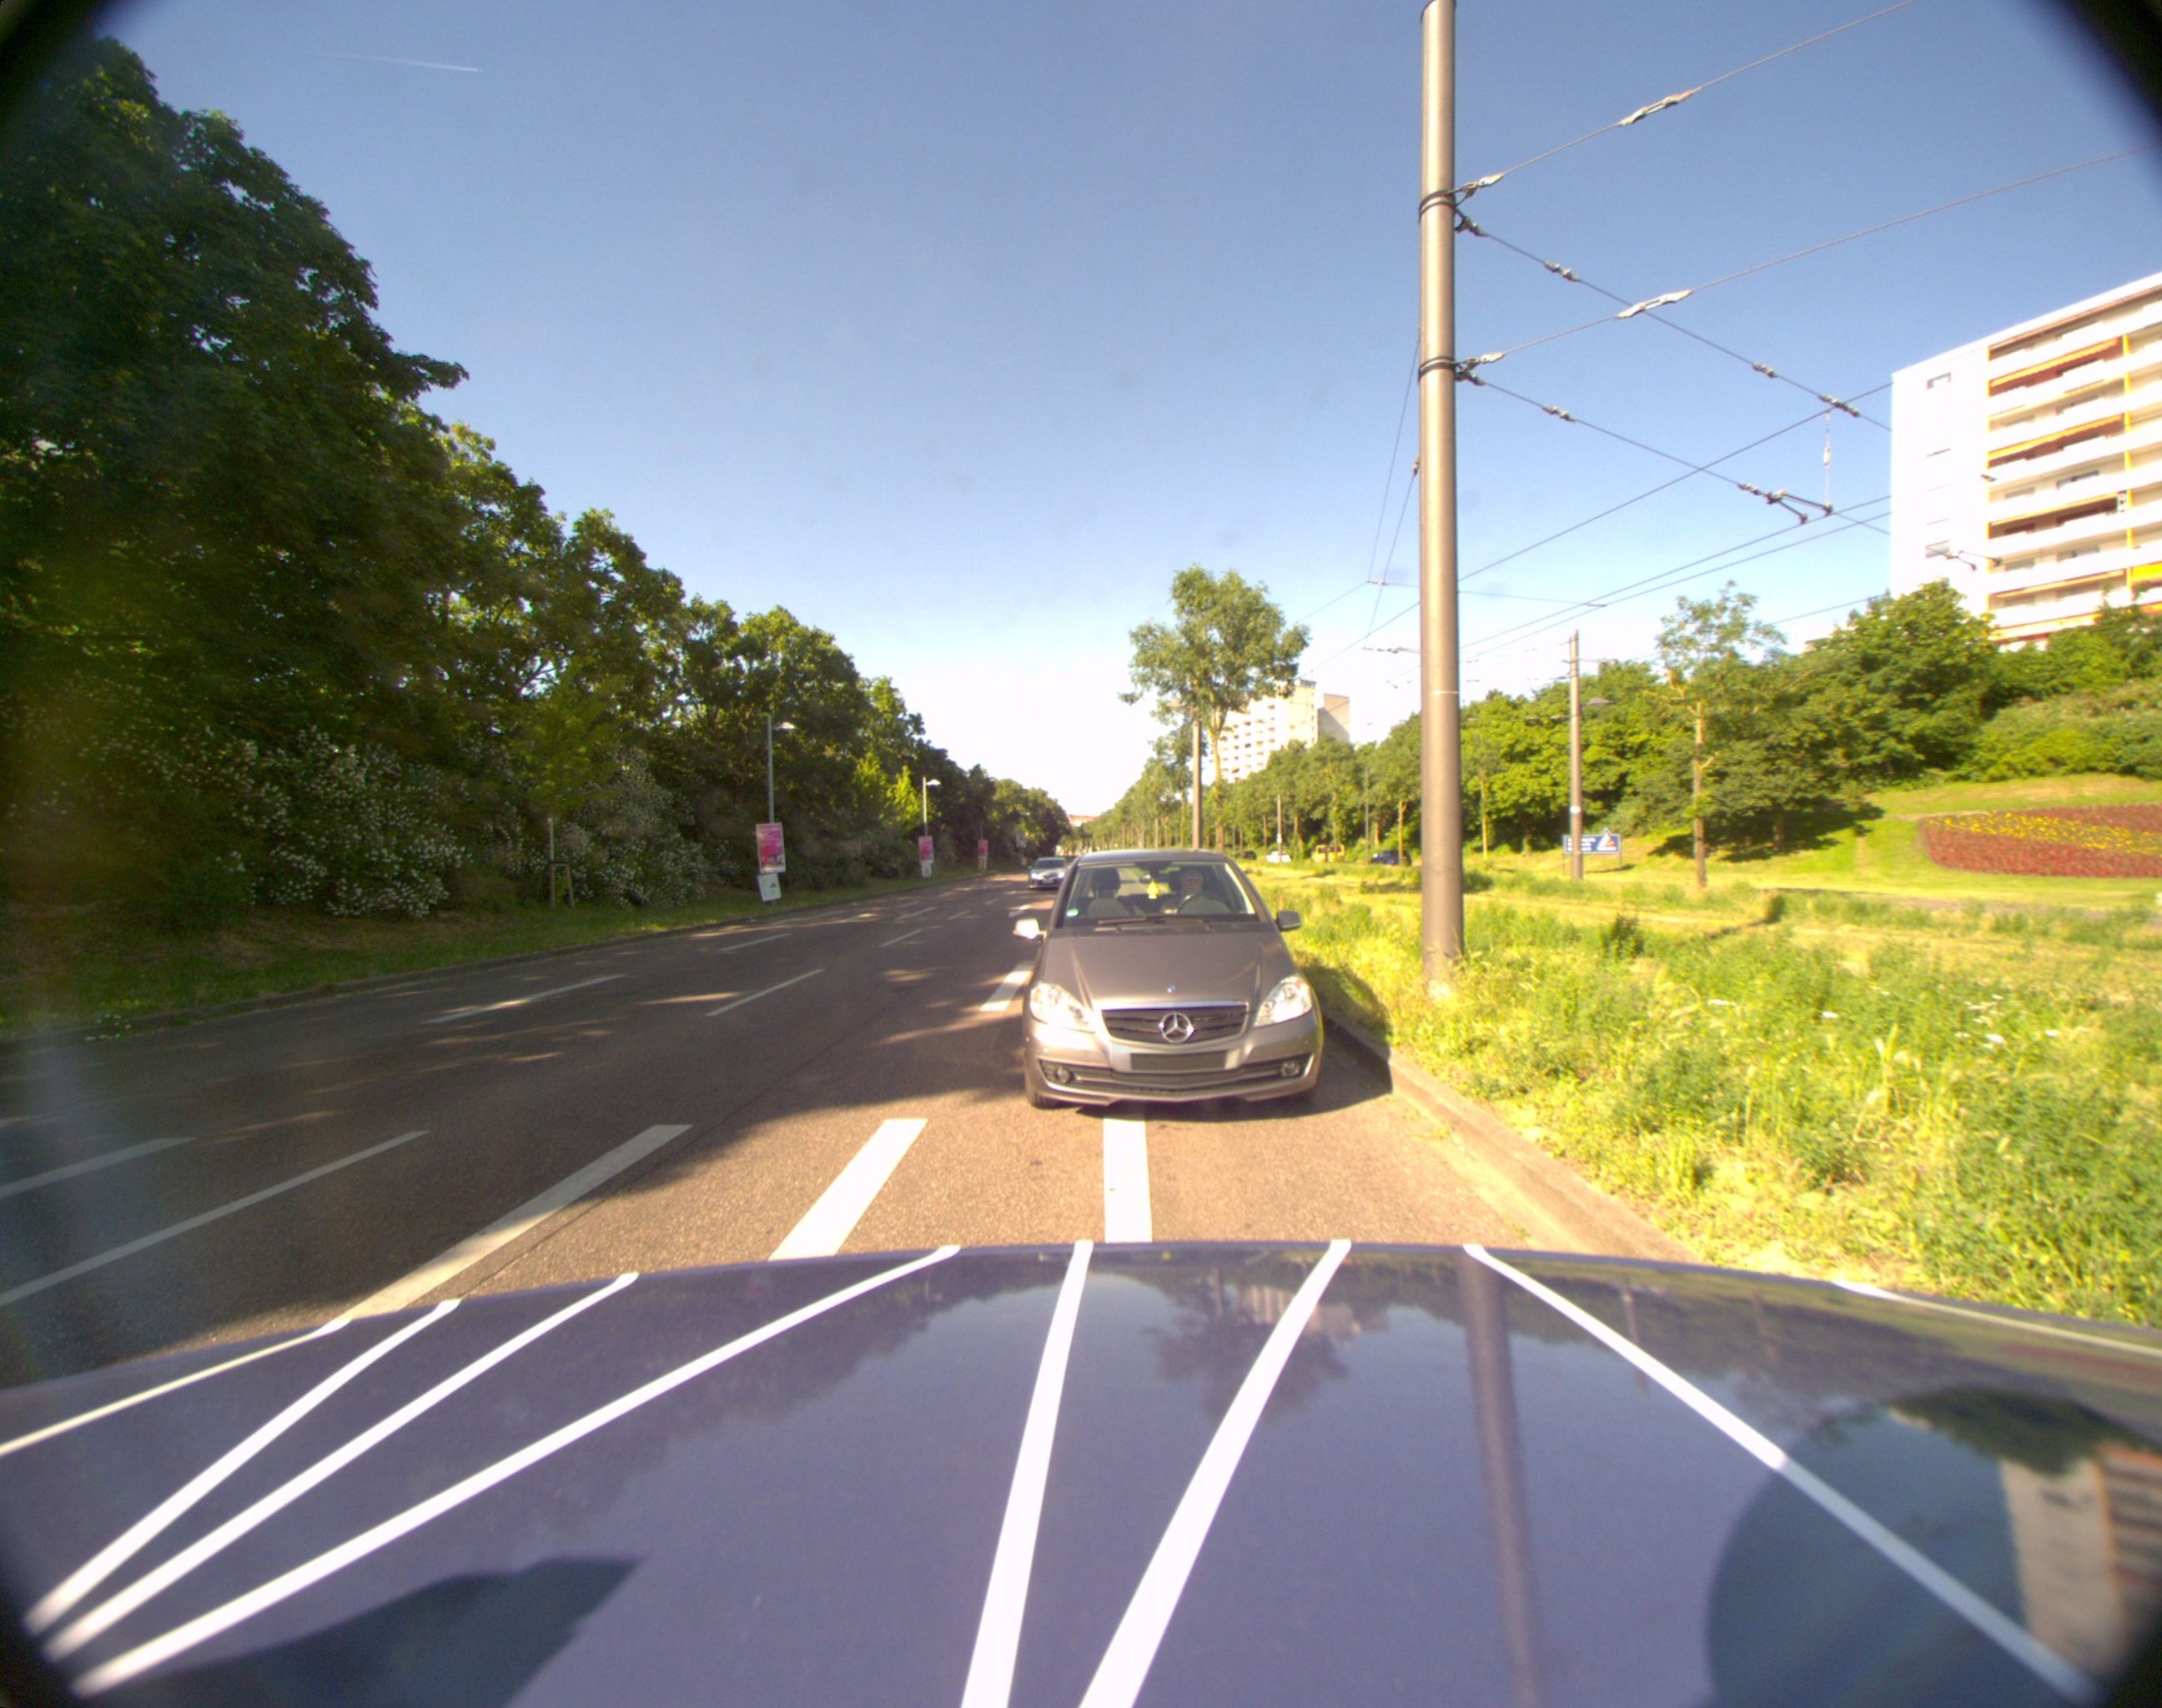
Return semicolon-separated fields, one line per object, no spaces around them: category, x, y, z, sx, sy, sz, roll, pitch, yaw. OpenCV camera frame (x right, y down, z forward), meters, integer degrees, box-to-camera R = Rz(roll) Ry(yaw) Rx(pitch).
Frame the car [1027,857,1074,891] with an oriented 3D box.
car;-1.355;0.873;35.572;1.875;1.428;4.594;-1;0;2

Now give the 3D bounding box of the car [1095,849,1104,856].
car;5.953;-0.507;247.621;2.001;2.002;3.995;-1;0;-12

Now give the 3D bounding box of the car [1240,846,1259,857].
car;22.775;-0.342;102.764;1.792;1.499;4.241;-1;0;4

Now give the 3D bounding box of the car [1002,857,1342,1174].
car;0.506;0.856;5.923;1.759;1.612;3.880;-1;0;1

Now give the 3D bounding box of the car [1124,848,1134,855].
car;12.366;-0.766;196.863;1.883;1.755;3.997;-1;0;-7

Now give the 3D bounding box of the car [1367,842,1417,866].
car;22.324;-0.009;54.715;1.998;1.565;4.106;-1;0;1

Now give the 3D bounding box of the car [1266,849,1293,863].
car;19.703;0.175;75.627;1.693;1.399;4.021;-1;0;1

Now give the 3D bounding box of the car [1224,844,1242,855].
car;20.040;-0.628;100.295;1.799;1.408;4.311;-1;0;3

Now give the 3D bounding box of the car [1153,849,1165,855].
car;18.134;-0.460;176.943;1.803;1.455;3.998;-1;0;-6

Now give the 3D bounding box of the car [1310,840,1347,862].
car;23.171;-0.284;71.341;1.998;1.955;4.907;-1;0;1

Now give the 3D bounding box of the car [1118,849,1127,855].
car;12.209;-0.648;222.084;1.910;1.652;3.996;-1;0;-9

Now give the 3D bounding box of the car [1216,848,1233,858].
car;21.766;-0.197;115.451;1.867;1.410;4.000;-1;0;1

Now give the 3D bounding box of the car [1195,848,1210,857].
car;19.400;-0.254;121.684;1.867;1.410;4.000;-1;0;3
